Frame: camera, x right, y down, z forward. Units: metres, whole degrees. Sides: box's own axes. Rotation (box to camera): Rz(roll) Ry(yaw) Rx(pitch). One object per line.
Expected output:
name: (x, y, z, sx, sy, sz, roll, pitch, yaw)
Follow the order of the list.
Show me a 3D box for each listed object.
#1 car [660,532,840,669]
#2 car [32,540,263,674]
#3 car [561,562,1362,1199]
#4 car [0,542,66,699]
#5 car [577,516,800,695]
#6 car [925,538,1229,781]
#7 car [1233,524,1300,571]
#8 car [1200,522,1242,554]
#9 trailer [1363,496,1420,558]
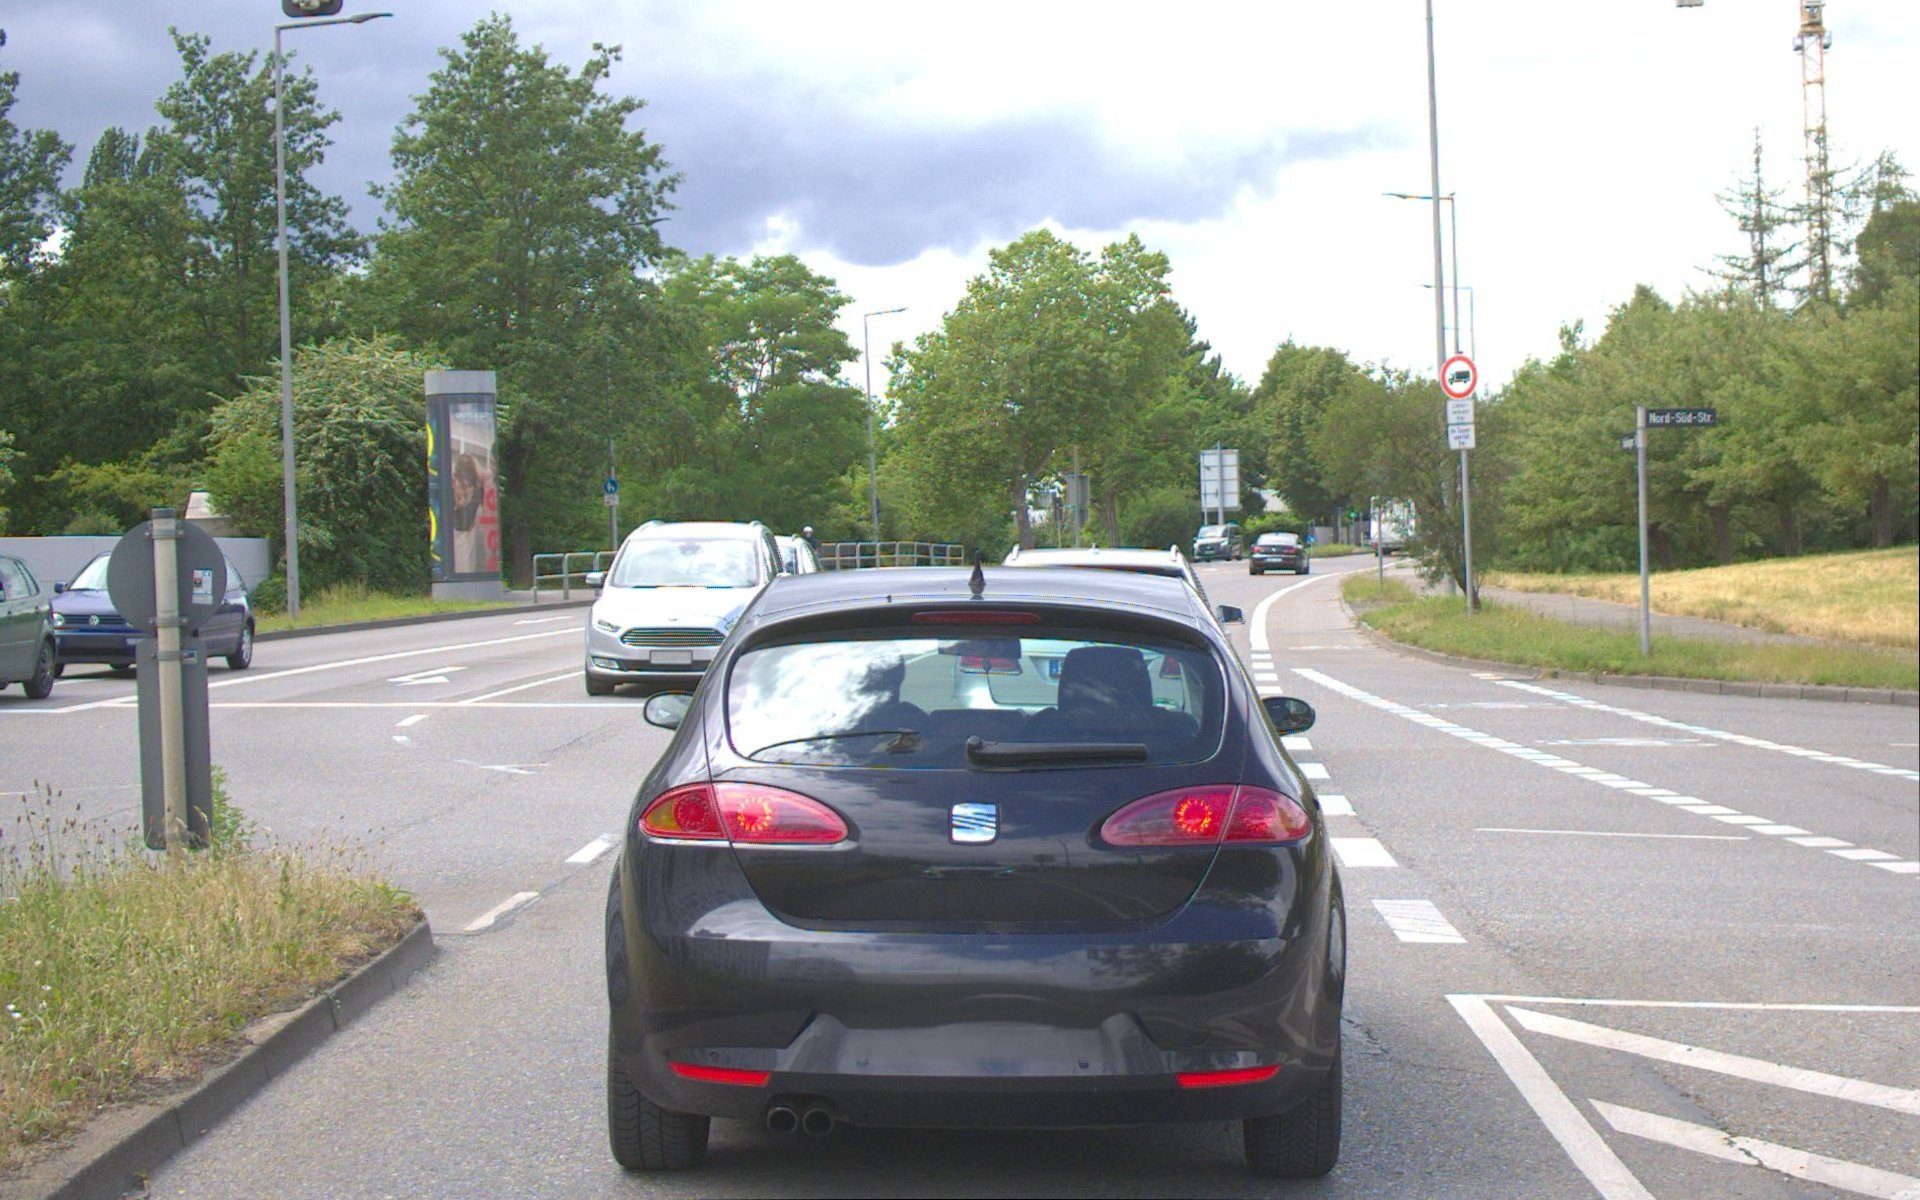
car: (-2.451, -0.034, 40.951, 1.660, 1.513, 4.084, 1, 1, 3)
car: (-9.161, 0.039, 39.041, 1.554, 1.414, 3.896, 0, 1, 3)
car: (-0.021, 0.626, 9.114, 1.711, 1.412, 3.459, 0, 1, -1)
car: (-9.565, 0.179, 31.682, 1.605, 1.427, 3.753, 0, 1, 1)
car: (-2.682, -0.006, 34.917, 1.820, 1.681, 4.645, 1, 1, 1)
car: (0.721, 0.346, 22.803, 1.834, 1.462, 3.751, 1, 0, 0)
car: (10.515, -1.825, 117.715, 1.994, 1.560, 4.469, 0, 1, 8)
car: (13.319, -3.167, 175.229, 1.715, 1.576, 3.740, 1, 0, 11)
trailer: (21.995, -3.678, 175.256, 2.492, 3.063, 5.584, 1, 0, 11)
